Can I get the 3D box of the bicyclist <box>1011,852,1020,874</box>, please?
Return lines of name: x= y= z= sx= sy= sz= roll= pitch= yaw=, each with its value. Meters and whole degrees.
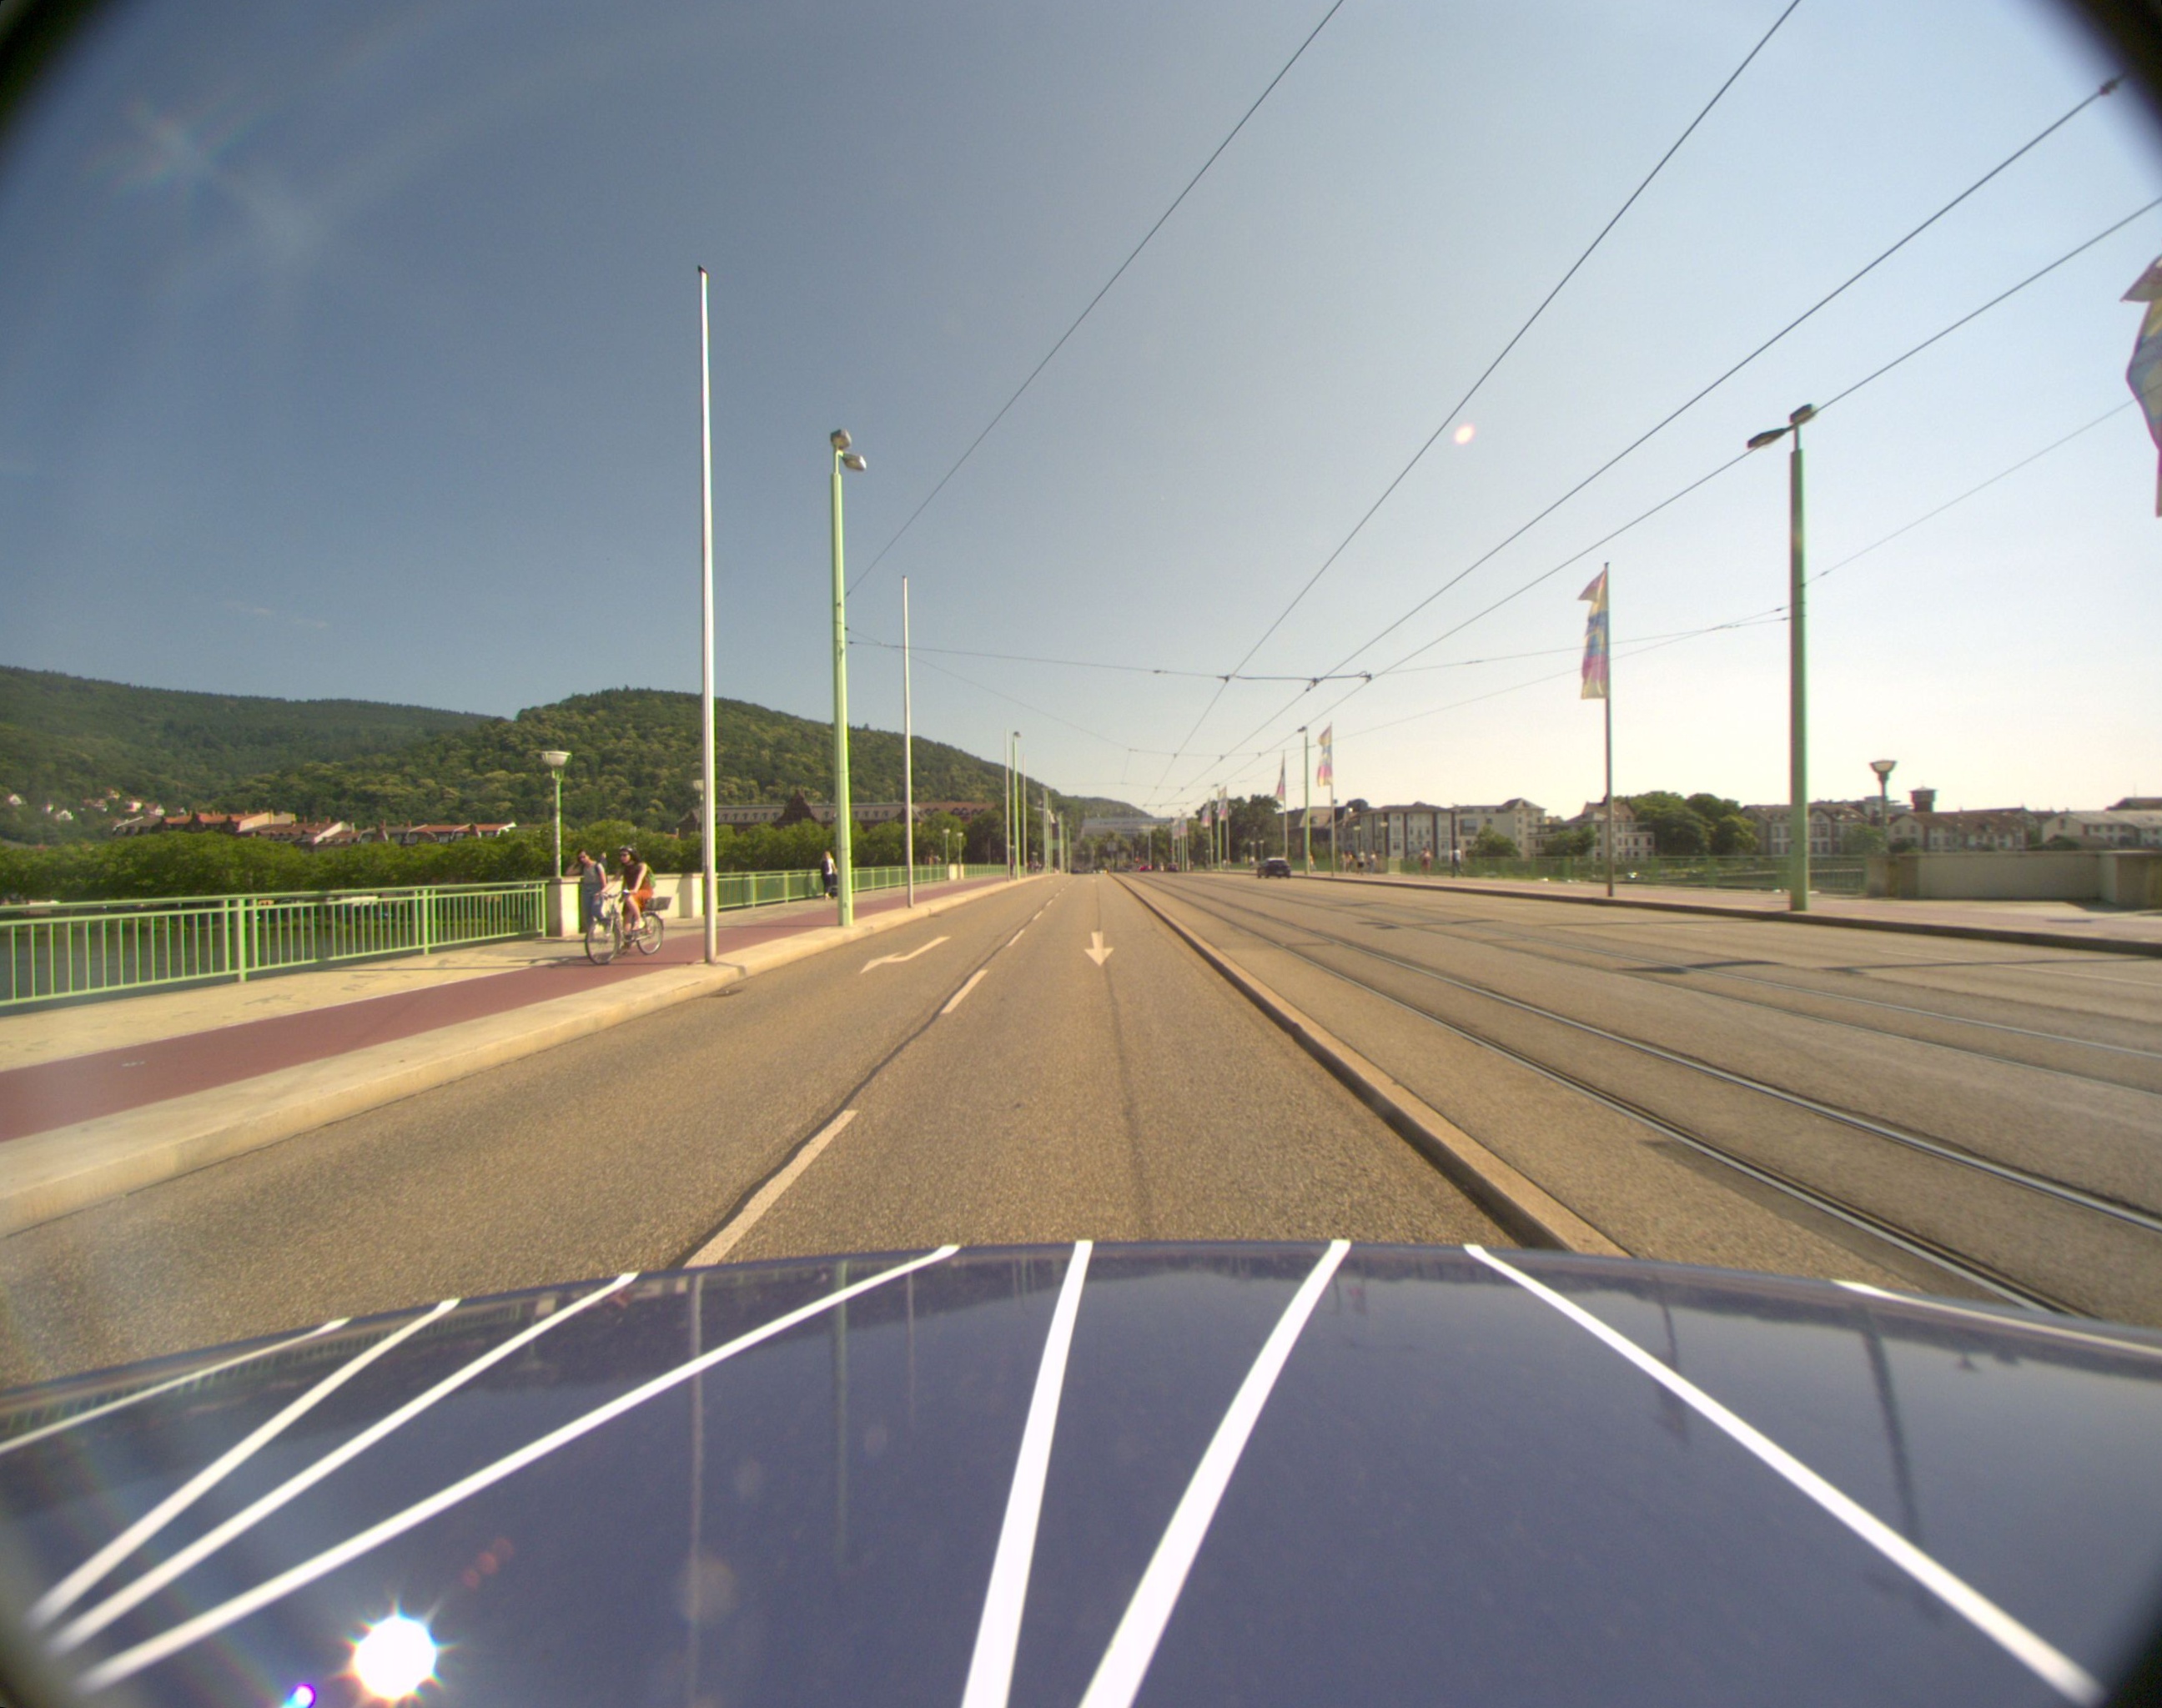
bicyclist: x=-5.272 y=0.725 z=61.062 sx=0.587 sy=1.759 sz=0.672 roll=0 pitch=1 yaw=2

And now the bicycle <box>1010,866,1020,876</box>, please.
bicycle: x=-5.267 y=1.347 z=61.113 sx=0.595 sy=0.761 sz=1.866 roll=0 pitch=0 yaw=1

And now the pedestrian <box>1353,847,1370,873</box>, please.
pedestrian: x=18.799 y=0.394 z=50.991 sx=0.671 sy=1.690 sz=1.022 roll=-3 pitch=1 yaw=1

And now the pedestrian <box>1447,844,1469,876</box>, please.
pedestrian: x=20.239 y=0.305 z=40.775 sx=0.592 sy=1.690 sz=1.022 roll=-3 pitch=1 yaw=1

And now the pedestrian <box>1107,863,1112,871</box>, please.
pedestrian: x=7.682 y=3.597 z=204.769 sx=1.035 sy=2.002 sz=1.201 roll=-3 pitch=2 yaw=-11

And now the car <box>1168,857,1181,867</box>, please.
car: x=15.223 y=1.277 z=123.586 sx=1.672 sy=1.428 sz=4.000 roll=-1 pitch=1 yaw=2

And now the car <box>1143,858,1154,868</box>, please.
car: x=12.944 y=1.728 z=146.123 sx=1.714 sy=1.686 sz=4.000 roll=-5 pitch=0 yaw=2

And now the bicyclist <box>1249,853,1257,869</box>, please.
bicyclist: x=18.303 y=0.757 z=80.986 sx=0.666 sy=1.641 sz=0.622 roll=-1 pitch=1 yaw=2

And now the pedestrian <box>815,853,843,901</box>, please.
pedestrian: x=-8.928 y=0.799 z=26.925 sx=0.664 sy=1.696 sz=0.859 roll=0 pitch=1 yaw=1

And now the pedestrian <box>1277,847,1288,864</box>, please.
pedestrian: x=20.578 y=0.156 z=77.580 sx=0.787 sy=1.690 sz=1.022 roll=-3 pitch=1 yaw=1

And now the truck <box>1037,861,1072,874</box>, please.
truck: x=-6.077 y=3.067 z=175.842 sx=7.683 sy=2.248 sz=2.662 roll=-5 pitch=0 yaw=5

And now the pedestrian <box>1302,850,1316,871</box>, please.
pedestrian: x=18.951 y=0.500 z=63.200 sx=0.787 sy=1.690 sz=1.022 roll=-3 pitch=1 yaw=1

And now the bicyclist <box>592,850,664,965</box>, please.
bicyclist: x=-6.643 y=0.763 z=11.168 sx=0.606 sy=1.641 sz=0.702 roll=0 pitch=1 yaw=2

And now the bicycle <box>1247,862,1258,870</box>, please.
bicycle: x=18.310 y=1.269 z=81.047 sx=0.667 sy=0.712 sz=2.173 roll=-1 pitch=0 yaw=1

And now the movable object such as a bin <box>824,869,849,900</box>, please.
movable object such as a bin: x=-8.918 y=1.111 z=27.752 sx=0.583 sy=1.084 sz=0.933 roll=0 pitch=0 yaw=0

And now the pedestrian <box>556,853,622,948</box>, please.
pedestrian: x=-8.760 y=0.807 z=13.554 sx=0.669 sy=1.649 sz=0.746 roll=0 pitch=1 yaw=1

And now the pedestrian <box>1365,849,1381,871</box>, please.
pedestrian: x=19.443 y=0.375 z=50.554 sx=0.592 sy=1.406 sz=1.022 roll=-3 pitch=1 yaw=1

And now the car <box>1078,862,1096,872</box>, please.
car: x=1.468 y=3.169 z=184.803 sx=3.996 sy=2.002 sz=2.000 roll=-5 pitch=0 yaw=3

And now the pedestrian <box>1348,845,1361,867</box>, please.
pedestrian: x=21.169 y=0.155 z=58.862 sx=0.592 sy=1.690 sz=1.022 roll=-3 pitch=1 yaw=1

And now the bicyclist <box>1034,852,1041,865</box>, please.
bicyclist: x=-5.519 y=0.559 z=96.949 sx=0.731 sy=1.655 sz=0.844 roll=-2 pitch=1 yaw=2

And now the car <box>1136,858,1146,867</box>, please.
car: x=12.307 y=1.795 z=155.641 sx=1.814 sy=1.611 sz=4.000 roll=-5 pitch=0 yaw=2

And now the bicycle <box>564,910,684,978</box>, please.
bicycle: x=-6.643 y=1.278 z=11.158 sx=0.595 sy=0.761 sz=1.866 roll=0 pitch=0 yaw=1

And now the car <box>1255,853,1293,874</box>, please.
car: x=13.736 y=0.666 z=54.274 sx=1.720 sy=1.446 sz=3.901 roll=0 pitch=0 yaw=1

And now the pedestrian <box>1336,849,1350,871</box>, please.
pedestrian: x=19.296 y=0.440 z=56.005 sx=0.627 sy=1.590 sz=1.022 roll=-3 pitch=1 yaw=1

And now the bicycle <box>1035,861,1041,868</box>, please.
bicycle: x=-5.446 y=1.325 z=97.133 sx=0.595 sy=0.761 sz=1.866 roll=0 pitch=0 yaw=1

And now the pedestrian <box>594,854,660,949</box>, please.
pedestrian: x=-8.051 y=0.821 z=13.511 sx=0.664 sy=1.649 sz=0.825 roll=0 pitch=1 yaw=1

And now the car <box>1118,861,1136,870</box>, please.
car: x=11.411 y=2.905 z=188.288 sx=3.998 sy=2.002 sz=1.999 roll=-3 pitch=1 yaw=-3

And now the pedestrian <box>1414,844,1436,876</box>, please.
pedestrian: x=19.026 y=0.323 z=41.992 sx=0.686 sy=1.681 sz=1.022 roll=-3 pitch=1 yaw=1

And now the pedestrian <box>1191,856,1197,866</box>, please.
pedestrian: x=19.999 y=1.254 z=134.136 sx=0.787 sy=1.690 sz=1.022 roll=-3 pitch=1 yaw=1

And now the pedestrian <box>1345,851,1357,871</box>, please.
pedestrian: x=19.972 y=0.534 z=56.162 sx=0.547 sy=1.429 sz=0.789 roll=-3 pitch=1 yaw=1
